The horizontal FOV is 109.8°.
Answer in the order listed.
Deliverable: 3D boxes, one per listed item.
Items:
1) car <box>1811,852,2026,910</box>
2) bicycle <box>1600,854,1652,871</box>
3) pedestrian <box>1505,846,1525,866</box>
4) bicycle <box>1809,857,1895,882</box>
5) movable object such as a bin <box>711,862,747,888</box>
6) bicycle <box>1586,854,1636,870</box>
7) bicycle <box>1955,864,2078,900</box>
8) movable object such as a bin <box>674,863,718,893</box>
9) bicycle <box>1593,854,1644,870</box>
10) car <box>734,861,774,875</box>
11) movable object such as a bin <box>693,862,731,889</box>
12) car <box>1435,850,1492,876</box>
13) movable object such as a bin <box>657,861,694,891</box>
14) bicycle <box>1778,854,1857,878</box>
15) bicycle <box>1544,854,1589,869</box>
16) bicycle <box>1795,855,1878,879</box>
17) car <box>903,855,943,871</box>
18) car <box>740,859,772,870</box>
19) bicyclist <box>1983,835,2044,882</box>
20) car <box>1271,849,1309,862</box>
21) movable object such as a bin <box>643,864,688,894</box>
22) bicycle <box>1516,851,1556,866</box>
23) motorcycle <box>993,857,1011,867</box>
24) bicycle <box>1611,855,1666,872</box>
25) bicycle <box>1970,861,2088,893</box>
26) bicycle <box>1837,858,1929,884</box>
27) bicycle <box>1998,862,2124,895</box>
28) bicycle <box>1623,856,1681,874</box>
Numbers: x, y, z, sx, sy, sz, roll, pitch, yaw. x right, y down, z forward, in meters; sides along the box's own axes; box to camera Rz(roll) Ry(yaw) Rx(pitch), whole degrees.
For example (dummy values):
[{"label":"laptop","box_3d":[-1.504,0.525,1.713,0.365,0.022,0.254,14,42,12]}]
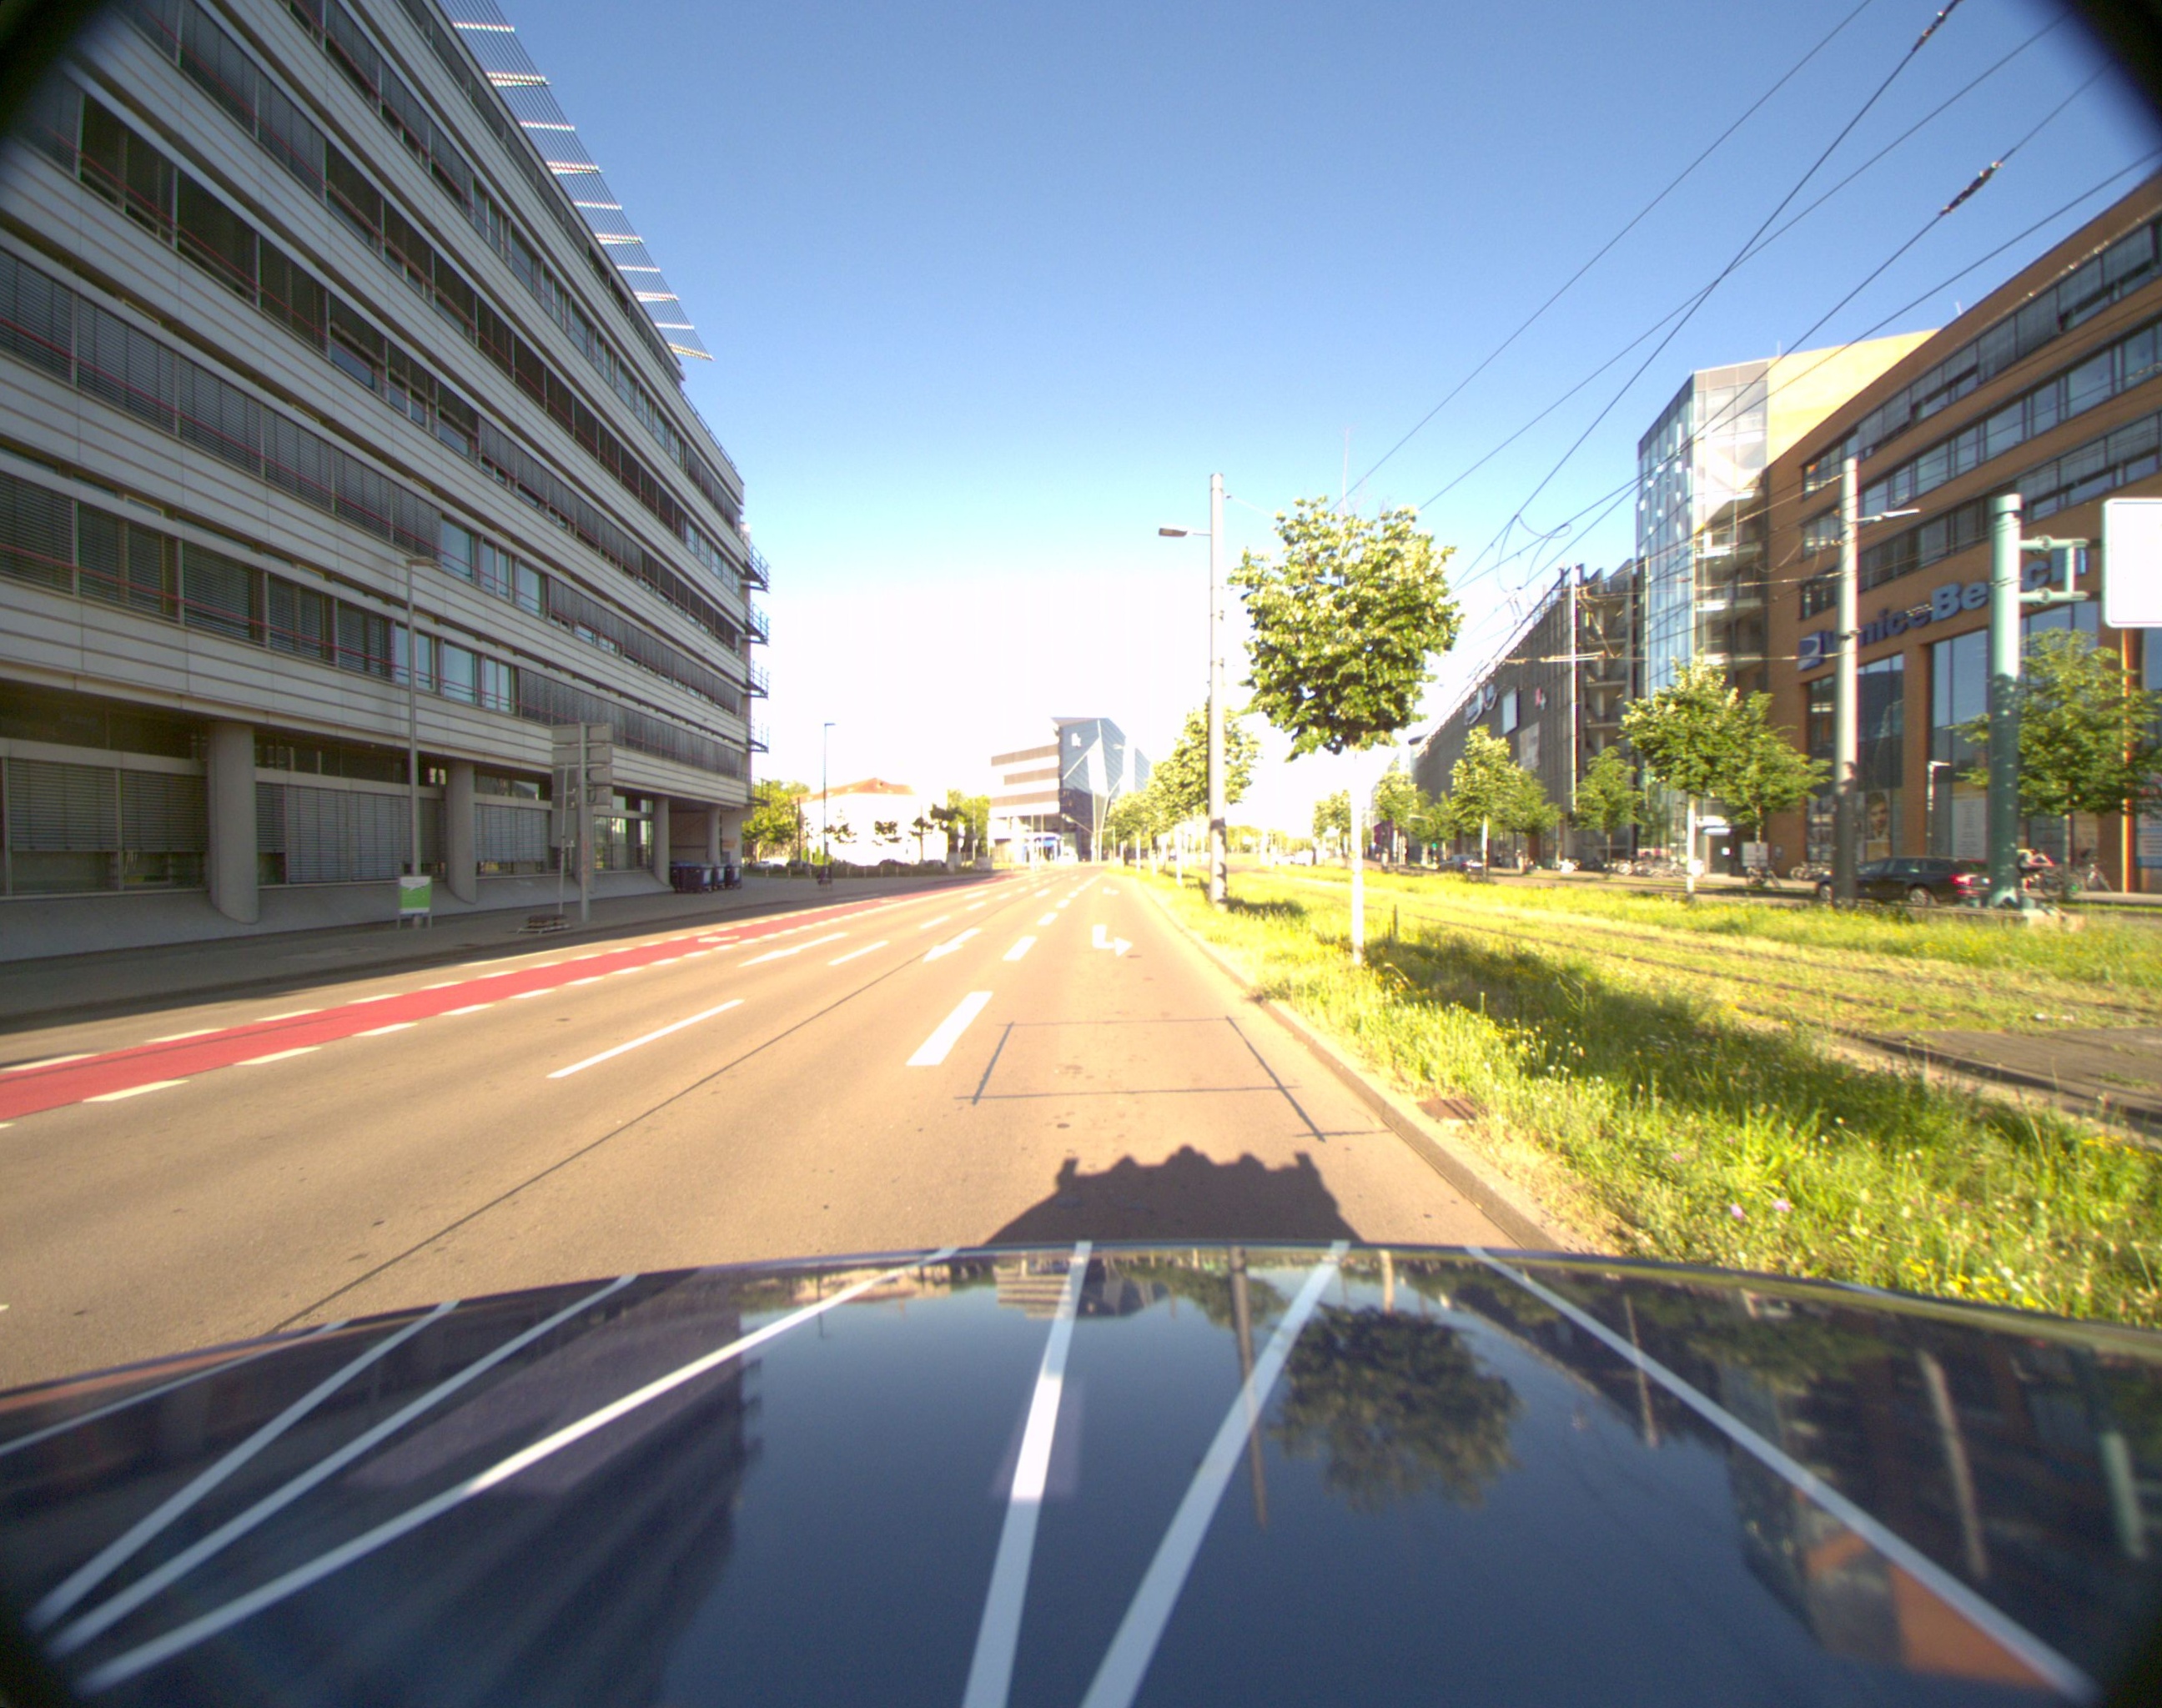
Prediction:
[{"label":"car","box_3d":[24.508,0.716,22.512,1.626,1.519,4.355,0,0,1]},{"label":"bicycle","box_3d":[36.042,0.562,50.253,2.687,1.097,0.897,0,0,11]},{"label":"pedestrian","box_3d":[37.538,0.186,65.775,1.072,1.671,1.095,-1,1,-6]},{"label":"bicycle","box_3d":[34.908,0.687,34.435,2.687,1.097,0.897,0,0,11]},{"label":"movable object such as a bin","box_3d":[-17.772,1.044,38.379,1.173,1.293,1.329,-1,1,1]},{"label":"bicycle","box_3d":[36.320,0.536,52.139,2.687,1.097,0.897,0,0,11]},{"label":"bicycle","box_3d":[31.197,0.907,25.434,0.895,1.097,2.692,0,0,2]},{"label":"movable object such as a bin","box_3d":[-17.154,1.047,33.899,1.328,1.294,1.174,-1,1,1]},{"label":"bicycle","box_3d":[36.200,0.546,51.228,2.687,1.097,0.826,0,0,11]},{"label":"car","box_3d":[-36.441,1.542,84.610,3.794,1.523,1.742,0,1,13]},{"label":"movable object such as a bin","box_3d":[-17.957,1.038,37.036,1.173,1.293,1.329,-1,1,1]},{"label":"car","box_3d":[23.573,0.493,46.991,1.625,1.519,4.357,0,0,4]},{"label":"movable object such as a bin","box_3d":[-19.089,1.010,35.819,1.109,1.366,1.108,-1,1,1]},{"label":"bicycle","box_3d":[35.662,0.583,36.819,2.687,1.097,0.897,0,0,11]},{"label":"bicycle","box_3d":[36.850,0.579,57.705,2.687,1.097,0.897,0,0,11]},{"label":"bicycle","box_3d":[35.422,0.602,35.659,2.687,1.097,0.897,0,0,11]},{"label":"car","box_3d":[-15.414,0.861,73.987,3.790,1.523,1.744,0,1,37]},{"label":"car","box_3d":[-44.803,1.436,104.740,3.804,1.523,1.737,-1,1,-17]},{"label":"bicyclist","box_3d":[31.196,0.141,25.434,0.895,1.539,0.939,0,0,1]},{"label":"car","box_3d":[24.441,0.126,88.896,1.681,1.519,4.345,0,0,-28]},{"label":"movable object such as a bin","box_3d":[-18.518,1.097,33.889,1.328,1.294,1.174,-1,1,1]},{"label":"bicycle","box_3d":[37.922,0.397,63.346,2.687,1.182,0.897,0,0,11]},{"label":"motorcycle","box_3d":[-10.162,1.048,97.303,2.256,1.214,0.821,0,1,-12]},{"label":"bicycle","box_3d":[35.595,0.598,48.556,2.687,1.097,0.897,0,0,11]},{"label":"bicycle","box_3d":[33.489,0.821,26.883,2.687,1.097,0.897,0,0,11]},{"label":"bicycle","box_3d":[34.576,0.718,32.797,2.687,1.097,0.897,0,0,11]},{"label":"bicycle","box_3d":[33.290,0.815,25.855,2.687,1.097,0.897,0,0,11]},{"label":"bicycle","box_3d":[35.058,0.678,46.684,2.687,1.097,0.897,0,0,11]}]
